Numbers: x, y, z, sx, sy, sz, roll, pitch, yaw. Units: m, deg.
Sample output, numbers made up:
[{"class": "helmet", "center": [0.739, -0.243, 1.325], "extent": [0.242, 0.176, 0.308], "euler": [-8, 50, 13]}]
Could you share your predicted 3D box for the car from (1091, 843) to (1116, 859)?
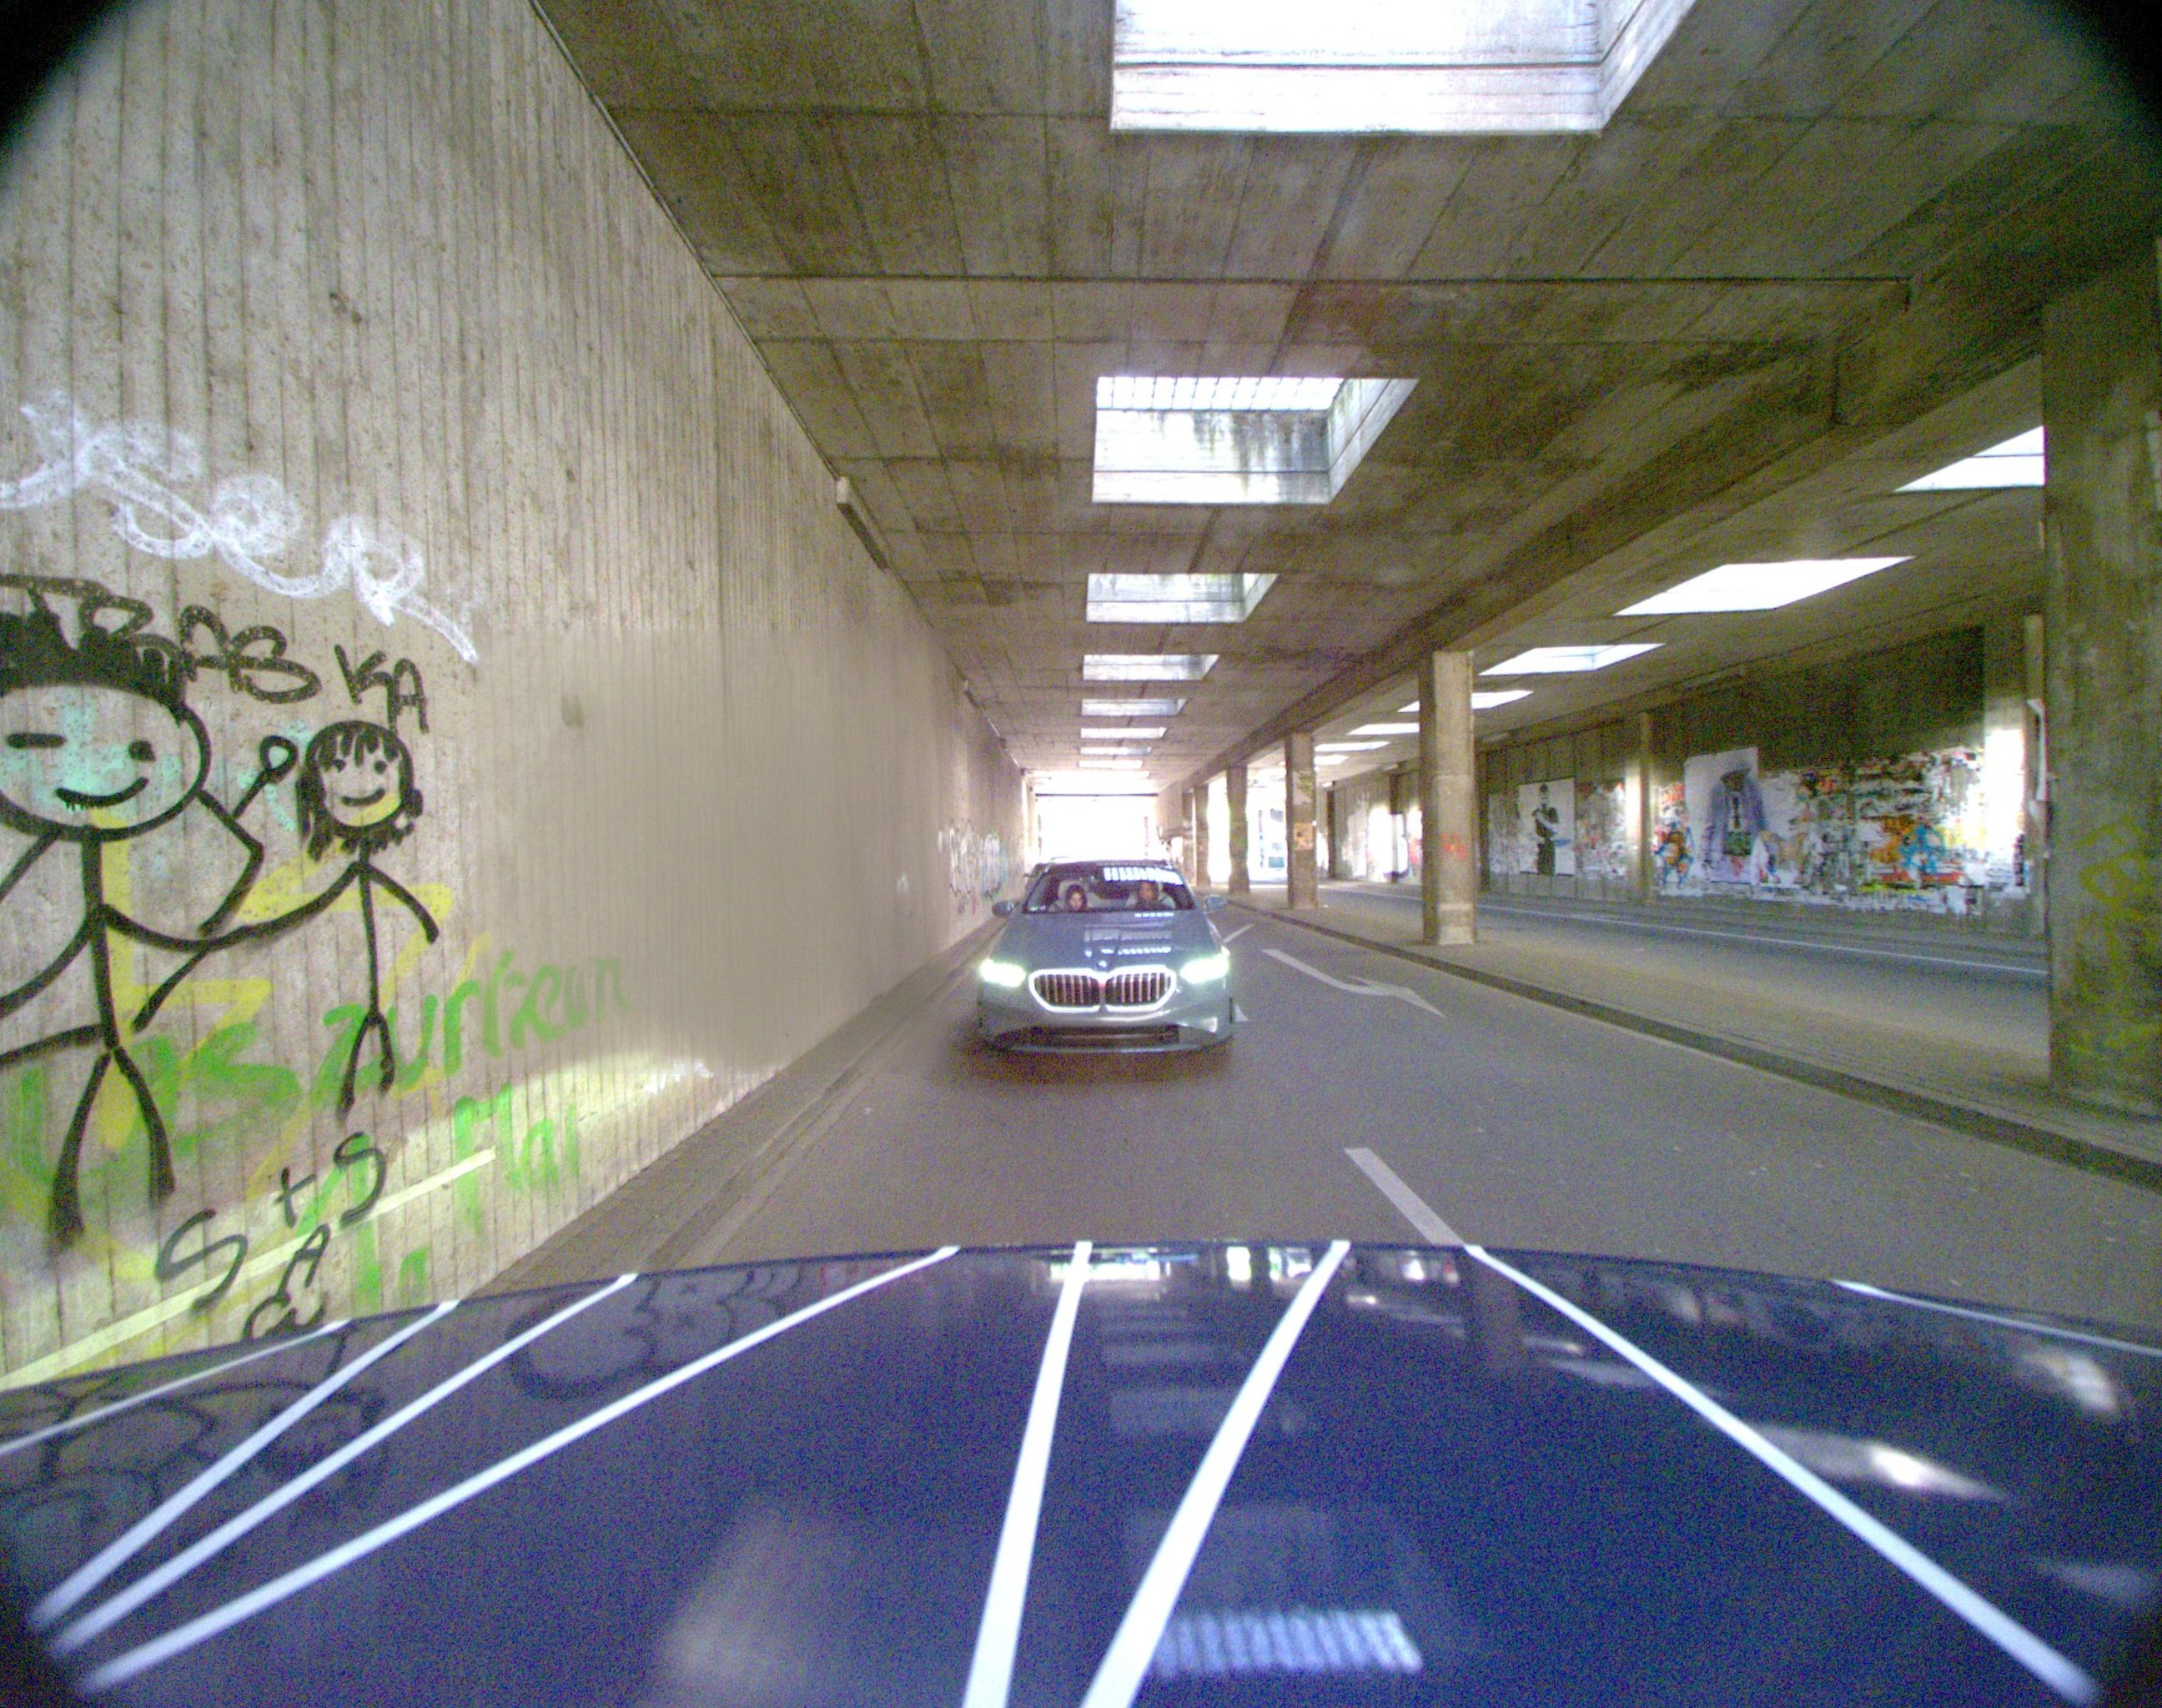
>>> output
[{"class": "car", "center": [2.867, -0.334, 97.522], "extent": [2.361, 2.002, 5.146], "euler": [-1, 0, -8]}]

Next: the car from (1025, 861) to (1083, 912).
[{"class": "car", "center": [-0.787, 0.950, 23.884], "extent": [1.593, 1.387, 3.833], "euler": [-2, 0, 1]}]

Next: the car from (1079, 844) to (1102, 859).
[{"class": "car", "center": [1.213, -0.341, 103.535], "extent": [2.361, 2.002, 5.146], "euler": [-1, 0, -8]}]

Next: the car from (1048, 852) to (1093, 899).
[{"class": "car", "center": [-0.364, 0.769, 29.891], "extent": [1.581, 1.676, 4.078], "euler": [-2, 0, 1]}]

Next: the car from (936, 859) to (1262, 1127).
[{"class": "car", "center": [0.188, 0.885, 7.310], "extent": [1.998, 1.594, 5.176], "euler": [-1, 0, 2]}]
